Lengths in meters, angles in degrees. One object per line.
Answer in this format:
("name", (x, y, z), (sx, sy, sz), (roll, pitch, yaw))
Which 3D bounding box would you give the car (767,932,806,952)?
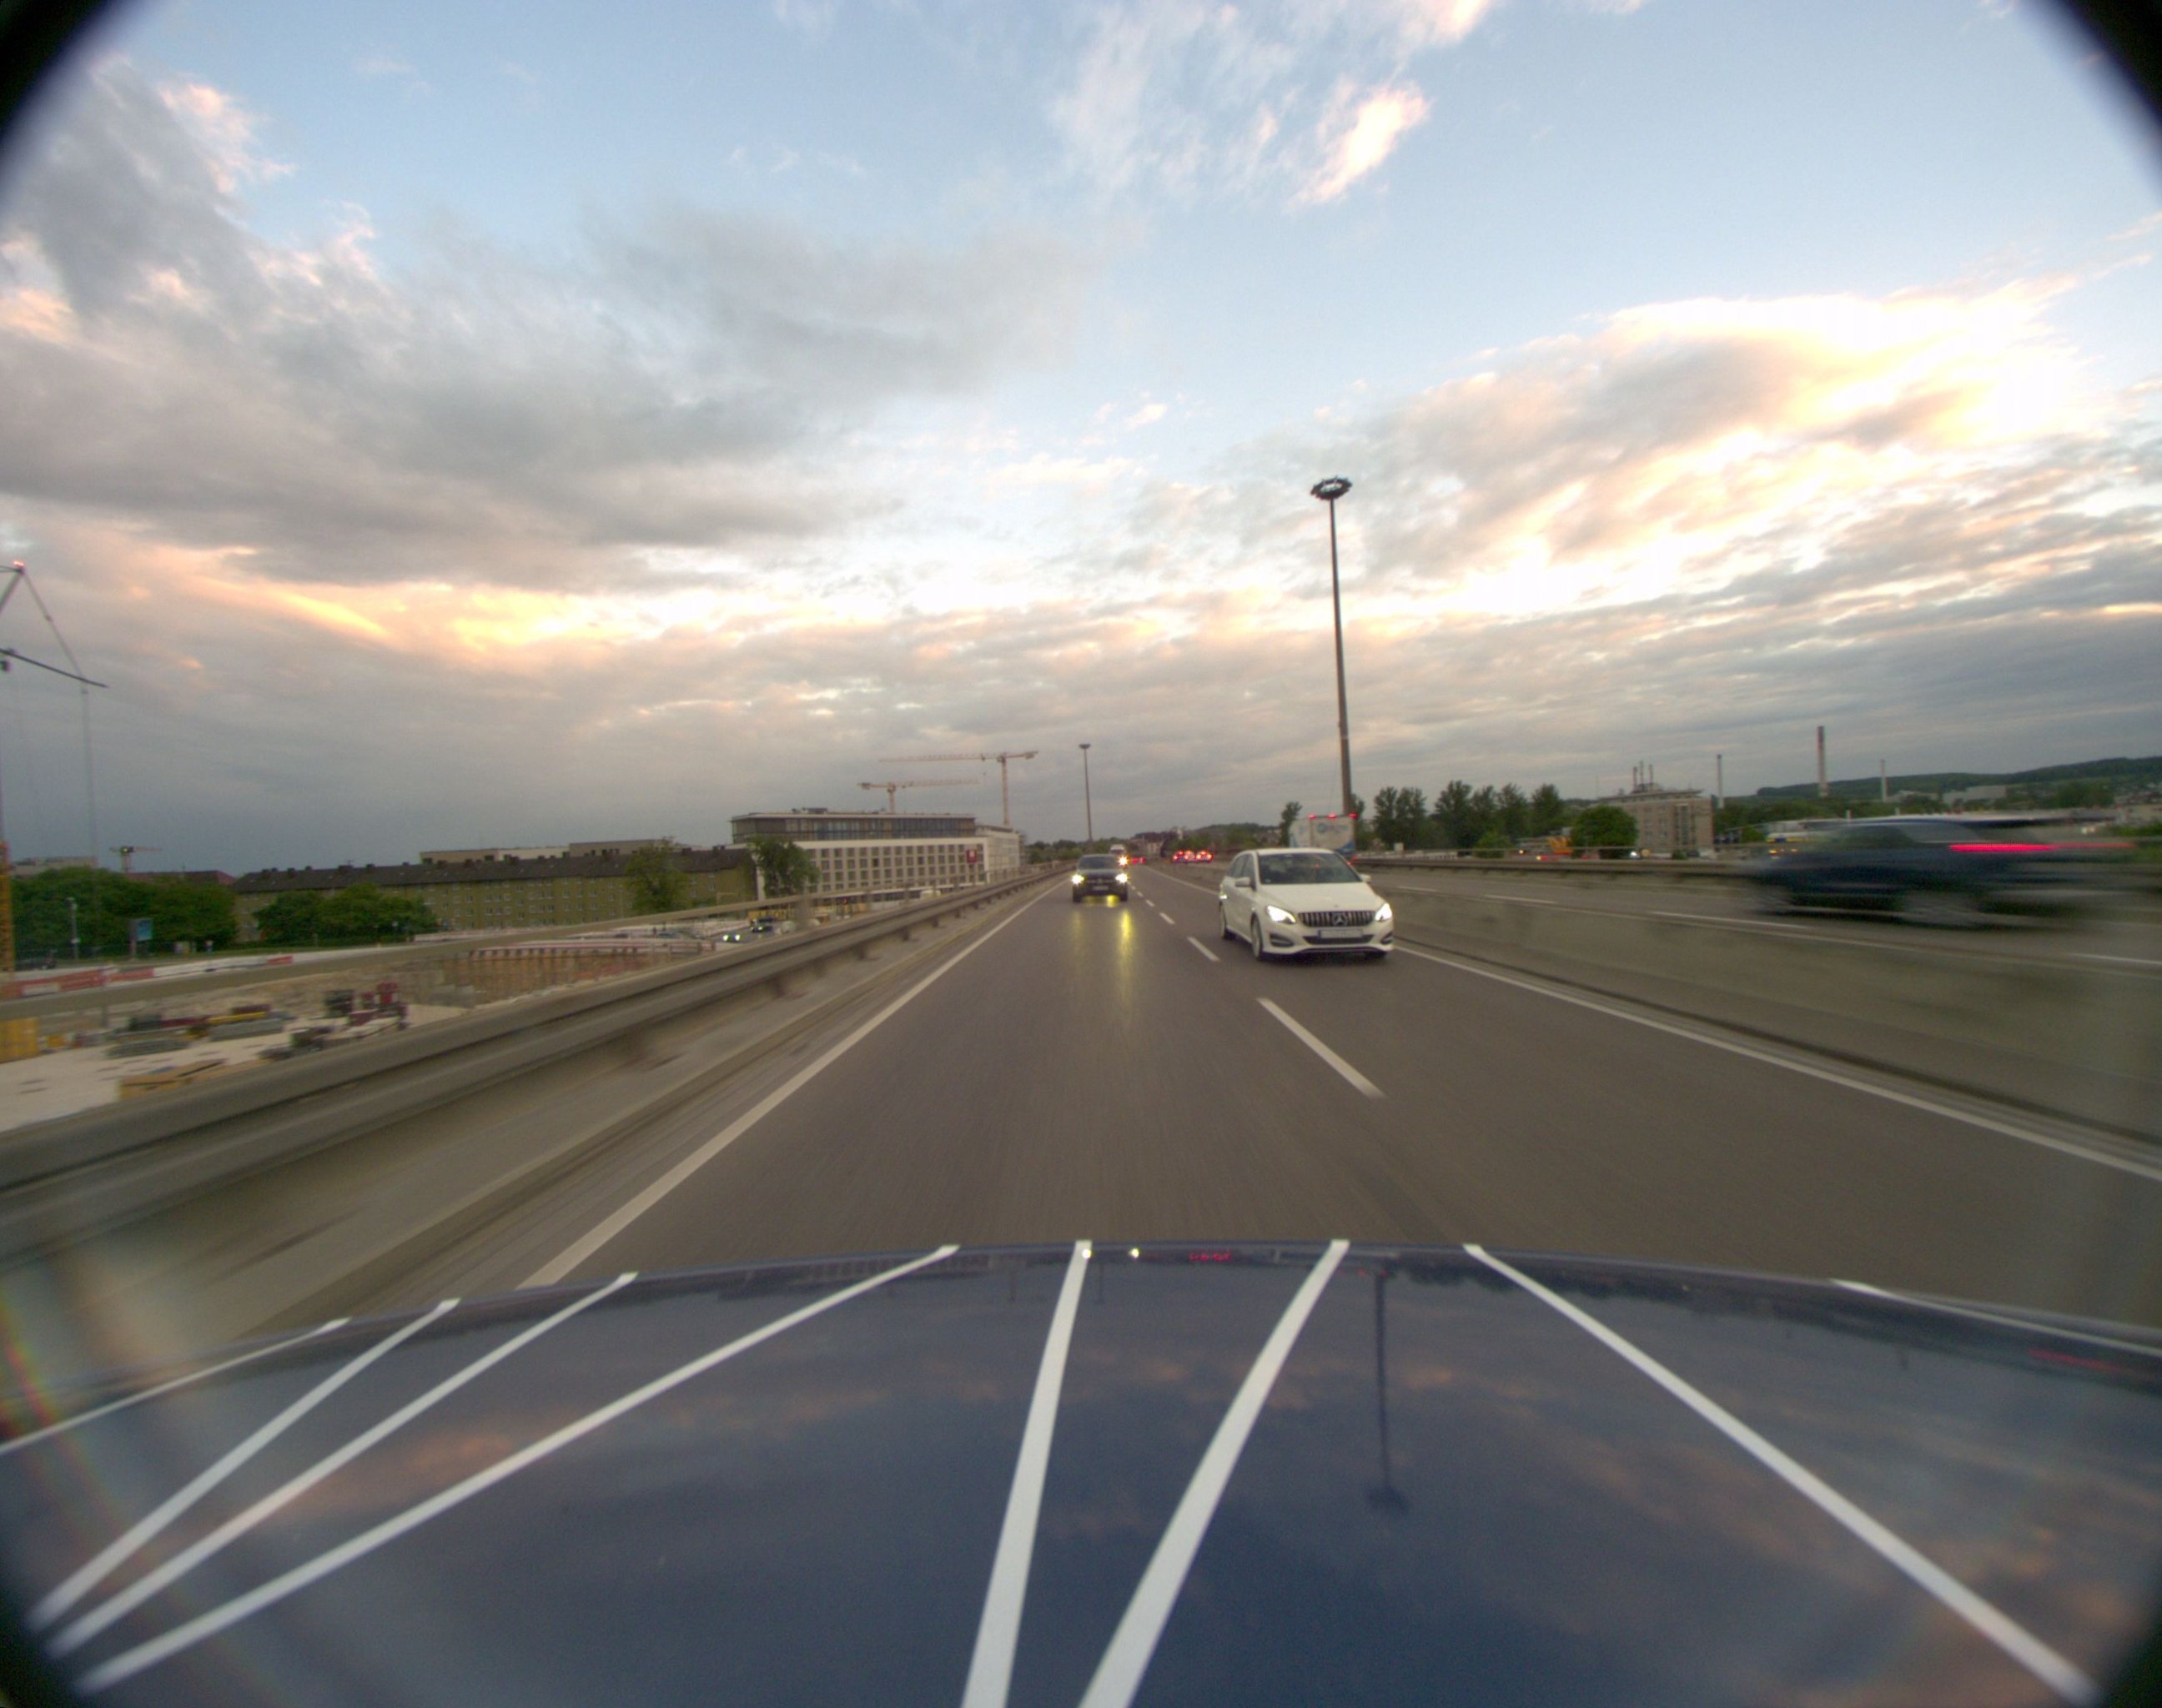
("car", (-33.482, 10.000, 86.336), (5.082, 1.865, 2.004), (-9, -4, 43))

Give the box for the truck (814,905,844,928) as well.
("truck", (-39.252, 9.720, 118.580), (2.163, 2.930, 7.337), (-5, -1, -2))

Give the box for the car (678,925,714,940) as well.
("car", (-53.768, 10.940, 106.085), (4.095, 1.710, 1.804), (-2, 3, 13))

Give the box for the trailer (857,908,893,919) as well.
("trailer", (-35.594, 10.295, 131.386), (5.876, 1.340, 2.024), (-2, 1, -16))

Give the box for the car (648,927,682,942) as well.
("car", (-54.655, 10.591, 99.793), (3.787, 1.729, 1.647), (-4, 1, 17))

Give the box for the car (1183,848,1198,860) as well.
("car", (19.021, -0.037, 131.886), (1.905, 1.889, 5.460), (-2, 0, 2))

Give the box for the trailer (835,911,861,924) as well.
("trailer", (-38.667, 10.512, 126.218), (1.998, 1.339, 5.875), (-8, -1, 3))

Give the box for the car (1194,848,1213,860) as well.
("car", (16.004, -0.048, 99.546), (1.835, 1.494, 4.817), (-1, 0, 3))

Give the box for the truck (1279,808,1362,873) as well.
("truck", (13.370, -0.709, 43.116), (2.541, 3.277, 7.447), (-2, 0, 2))

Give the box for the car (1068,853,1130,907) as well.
("car", (0.645, 0.803, 25.048), (1.823, 1.602, 4.213), (-1, 0, 3))

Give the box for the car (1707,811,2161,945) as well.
("car", (12.390, 0.284, 11.615), (1.982, 1.596, 4.441), (-2, 0, 0))

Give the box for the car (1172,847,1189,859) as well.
("car", (12.348, -0.088, 94.247), (1.633, 1.432, 3.837), (-2, -1, 2))

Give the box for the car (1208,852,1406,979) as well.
("car", (3.229, 0.796, 11.888), (1.695, 1.528, 4.784), (-2, -1, 1))

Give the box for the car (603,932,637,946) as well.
("car", (-62.227, 11.494, 102.502), (3.761, 1.609, 1.650), (-2, 0, 12))

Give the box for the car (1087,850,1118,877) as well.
("car", (1.395, 0.639, 50.440), (1.891, 1.641, 4.345), (-2, -1, 1))

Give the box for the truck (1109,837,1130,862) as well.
("truck", (7.097, -0.776, 139.523), (3.164, 4.369, 8.797), (-2, 0, 7))
